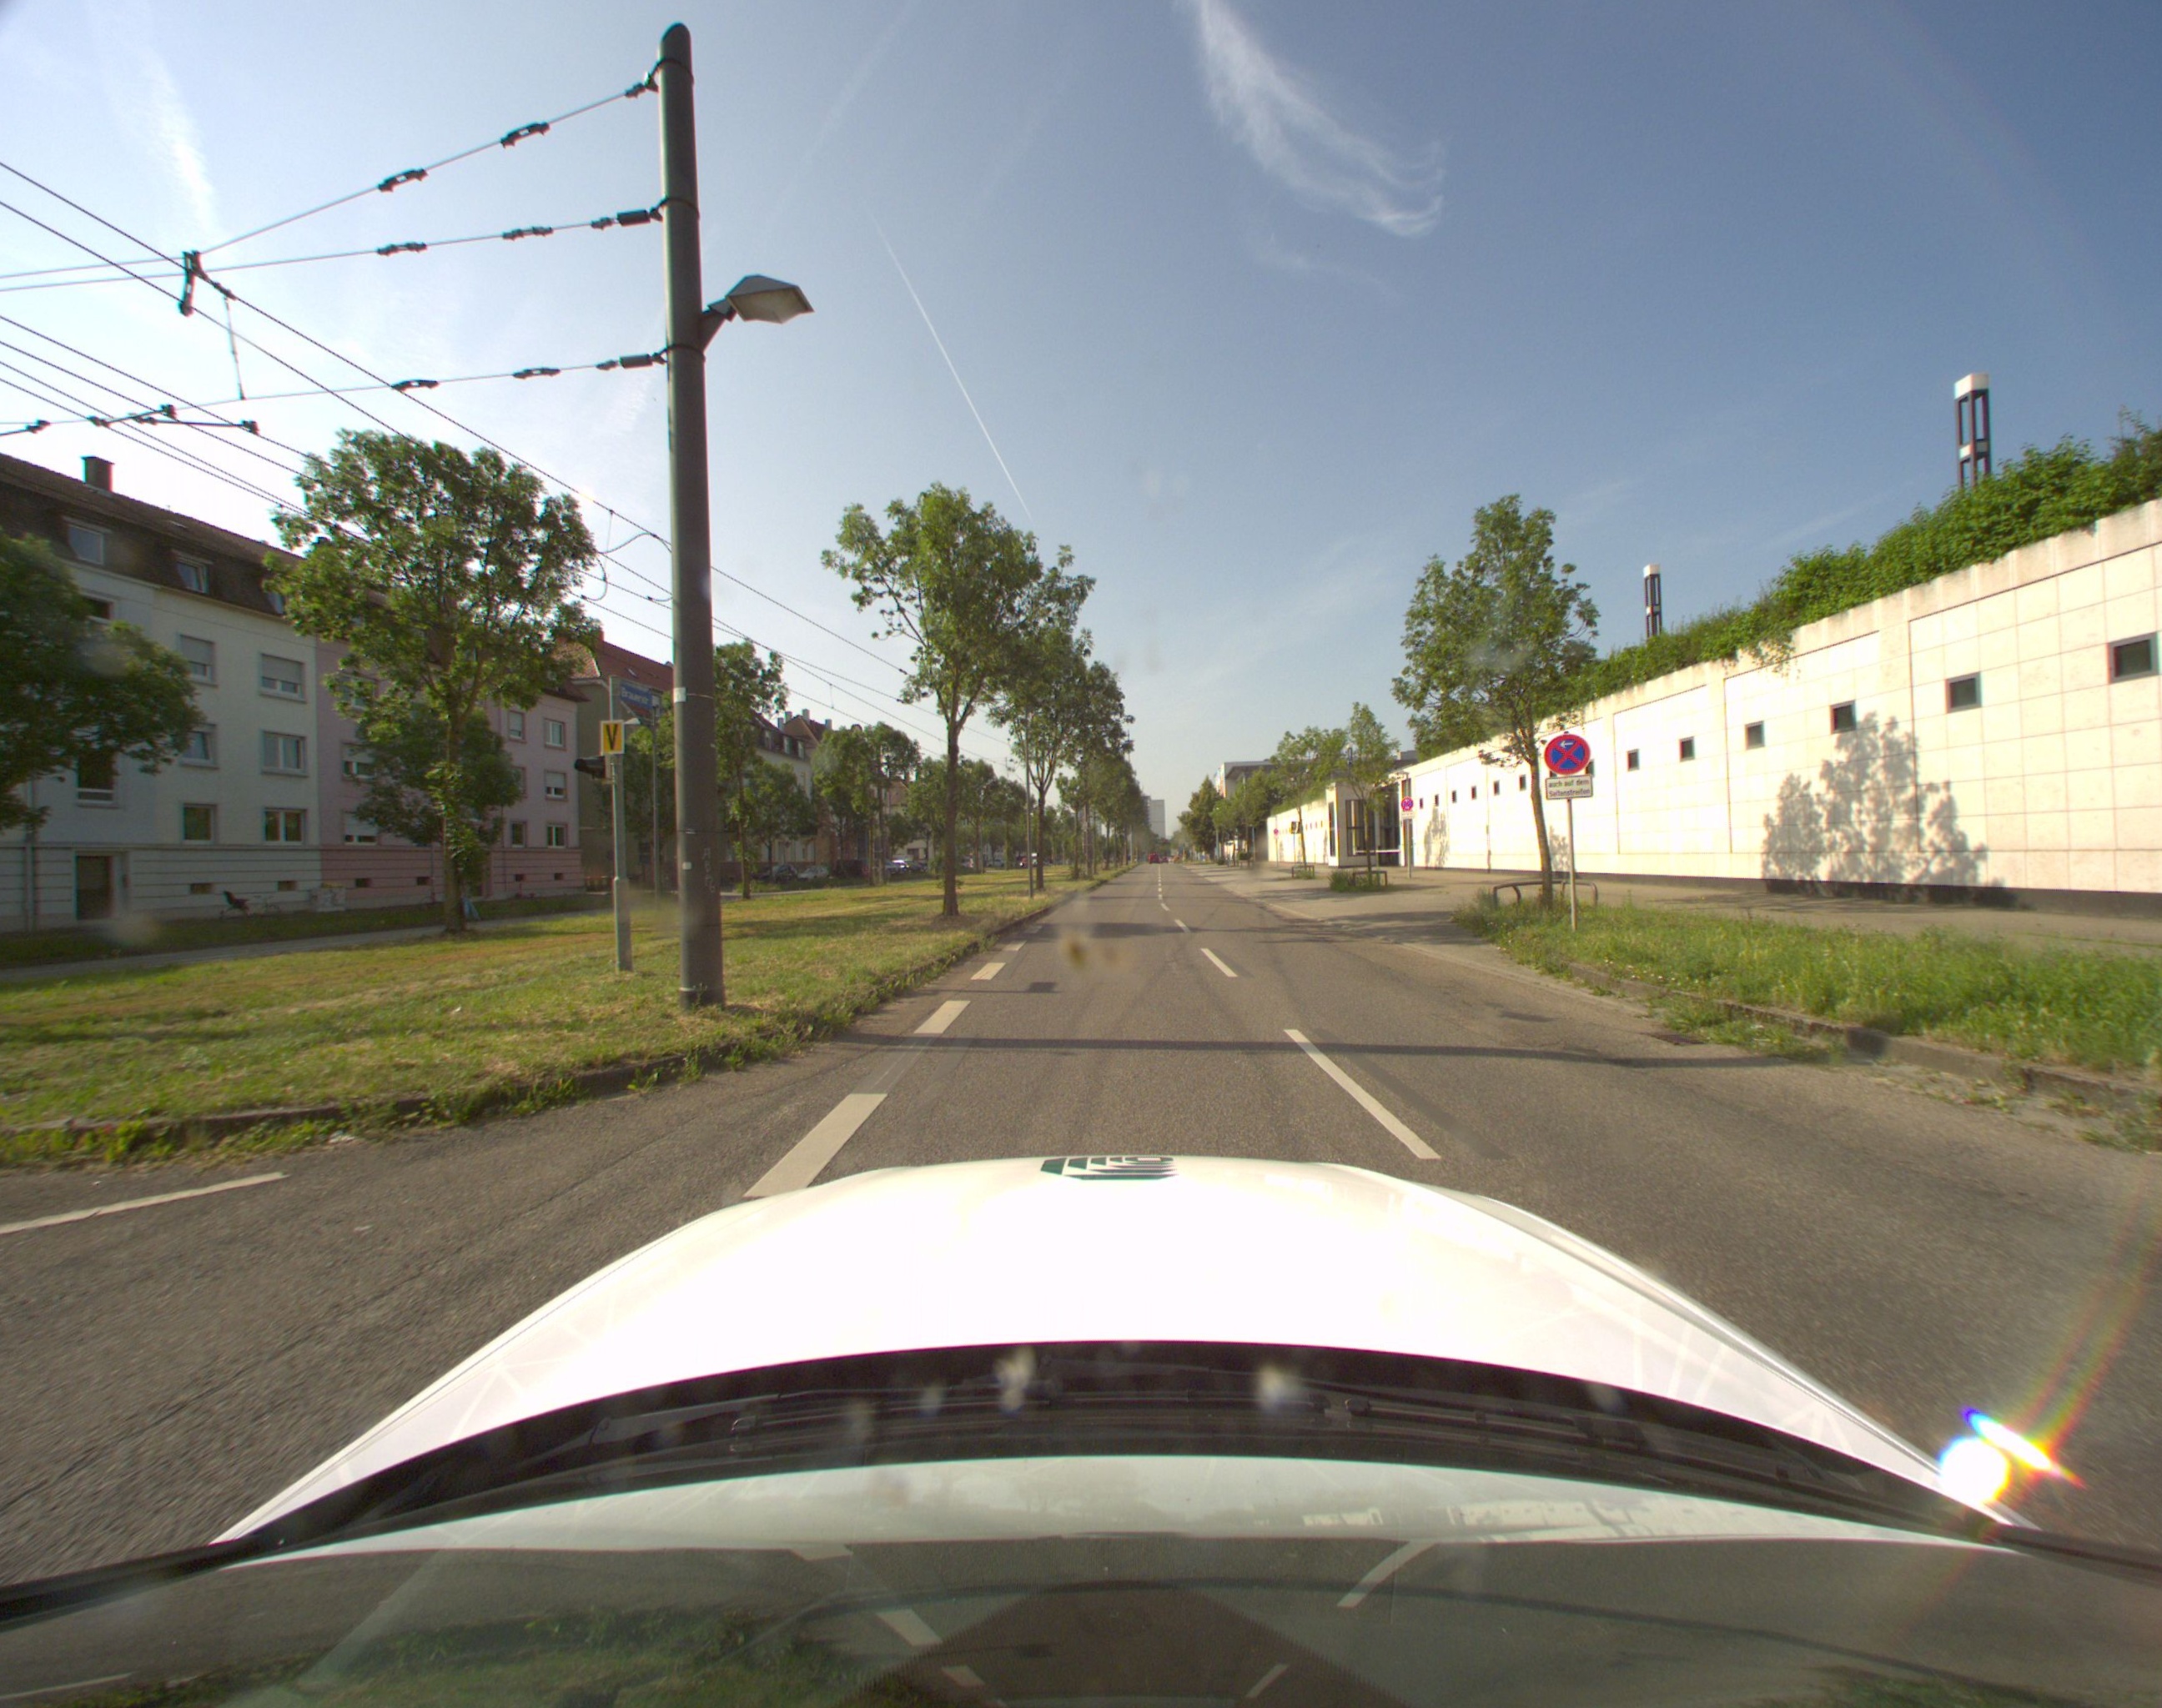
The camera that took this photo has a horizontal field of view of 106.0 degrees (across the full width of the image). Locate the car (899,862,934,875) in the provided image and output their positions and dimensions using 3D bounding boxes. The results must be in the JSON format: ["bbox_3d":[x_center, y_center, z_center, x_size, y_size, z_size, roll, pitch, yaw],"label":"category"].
[{"bbox_3d":[-18.216,1.616,90.078,3.949,1.417,1.587,0,-1,40],"label":"car"}]

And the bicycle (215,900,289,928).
[{"bbox_3d":[-28.697,2.068,28.240,0.445,0.857,1.949,0,-1,4],"label":"bicycle"}]

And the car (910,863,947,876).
[{"bbox_3d":[-17.319,1.764,92.566,3.951,1.417,1.586,0,-1,25],"label":"car"}]

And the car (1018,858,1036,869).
[{"bbox_3d":[-8.738,1.551,132.130,1.953,1.694,4.308,0,-1,9],"label":"car"}]

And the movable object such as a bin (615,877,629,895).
[{"bbox_3d":[-31.387,2.154,55.664,0.582,1.211,0.641,0,-1,4],"label":"movable object such as a bin"}]

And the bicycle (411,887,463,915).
[{"bbox_3d":[-28.025,2.030,35.487,0.601,1.128,1.949,0,-1,4],"label":"bicycle"}]

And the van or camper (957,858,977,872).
[{"bbox_3d":[-20.129,1.975,143.690,1.983,2.328,5.839,0,-1,7],"label":"van or camper"}]

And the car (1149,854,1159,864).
[{"bbox_3d":[13.914,0.953,154.463,1.739,2.014,3.221,0,-1,6],"label":"car"}]

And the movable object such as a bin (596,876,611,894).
[{"bbox_3d":[-32.647,2.148,55.714,0.582,1.211,0.641,0,-1,4],"label":"movable object such as a bin"}]

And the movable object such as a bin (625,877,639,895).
[{"bbox_3d":[-30.671,2.158,55.669,0.582,1.211,0.641,0,-1,4],"label":"movable object such as a bin"}]

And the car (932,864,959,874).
[{"bbox_3d":[-16.580,1.837,99.337,3.124,1.161,1.506,0,-1,38],"label":"car"}]

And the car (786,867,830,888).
[{"bbox_3d":[-22.203,1.911,66.361,1.881,1.628,4.161,0,0,4],"label":"car"}]

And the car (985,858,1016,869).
[{"bbox_3d":[-13.626,1.577,138.047,5.259,1.738,2.012,0,-1,39],"label":"car"}]

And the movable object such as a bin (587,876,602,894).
[{"bbox_3d":[-33.283,2.145,55.741,0.582,1.211,0.641,0,-1,4],"label":"movable object such as a bin"}]

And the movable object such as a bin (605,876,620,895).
[{"bbox_3d":[-32.033,2.151,55.686,0.582,1.211,0.641,0,-1,4],"label":"movable object such as a bin"}]

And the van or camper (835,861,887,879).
[{"bbox_3d":[-19.968,1.426,73.804,4.788,1.623,2.015,0,-1,38],"label":"van or camper"}]

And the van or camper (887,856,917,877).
[{"bbox_3d":[-23.251,1.639,106.064,2.029,2.567,6.365,0,-1,5],"label":"van or camper"}]

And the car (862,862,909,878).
[{"bbox_3d":[-19.027,1.544,79.240,4.419,1.419,1.988,0,-1,36],"label":"car"}]

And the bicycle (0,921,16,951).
[{"bbox_3d":[-29.484,2.212,21.363,0.435,0.789,1.949,0,-1,4],"label":"bicycle"}]

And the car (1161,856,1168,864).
[{"bbox_3d":[21.087,1.546,204.660,1.739,2.014,3.221,0,-1,6],"label":"car"}]

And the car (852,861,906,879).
[{"bbox_3d":[-18.906,1.504,76.223,5.154,1.623,2.070,0,-1,36],"label":"car"}]

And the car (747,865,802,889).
[{"bbox_3d":[-22.718,1.679,60.483,1.985,1.628,4.780,0,0,4],"label":"car"}]

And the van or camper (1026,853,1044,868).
[{"bbox_3d":[-7.874,1.145,139.114,2.193,2.531,6.038,0,-1,5],"label":"van or camper"}]
